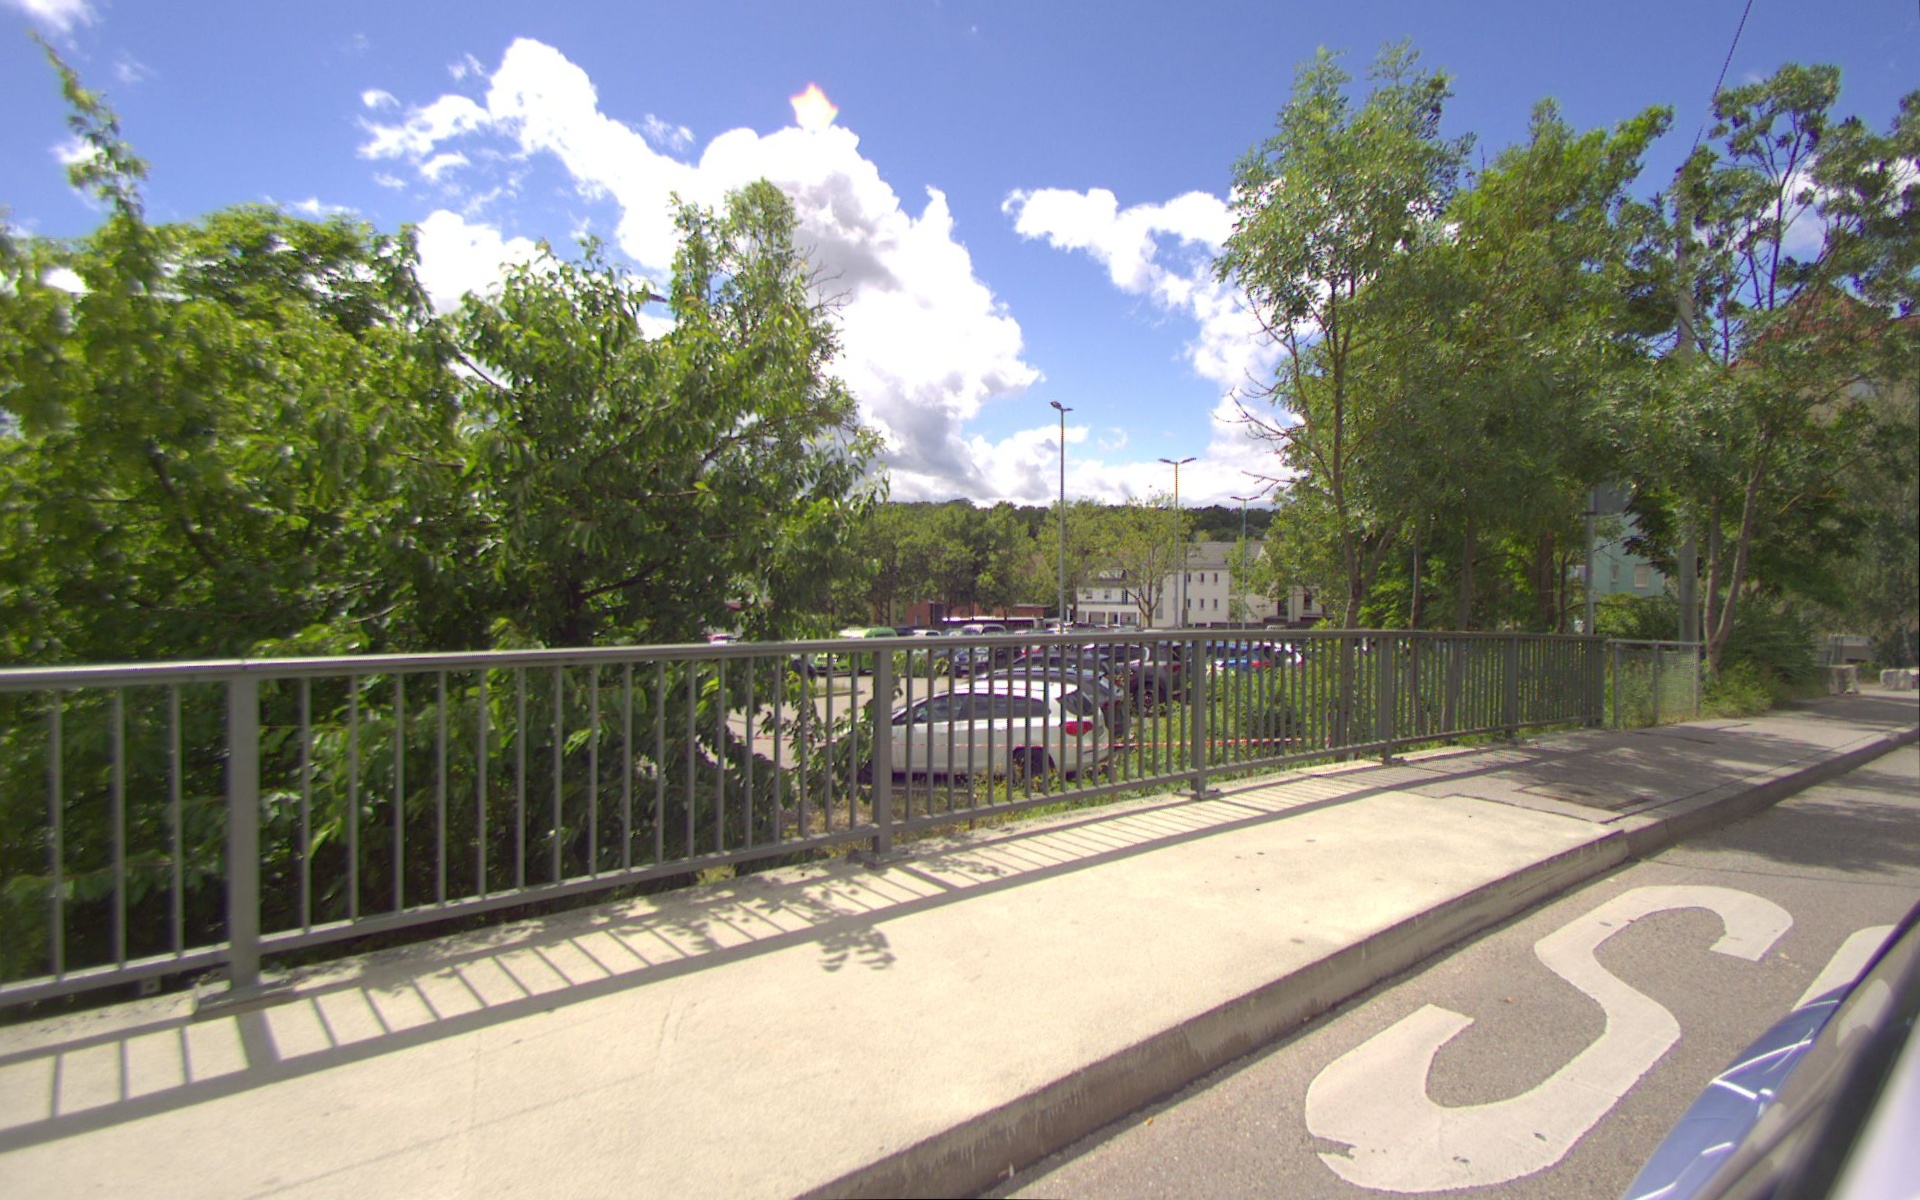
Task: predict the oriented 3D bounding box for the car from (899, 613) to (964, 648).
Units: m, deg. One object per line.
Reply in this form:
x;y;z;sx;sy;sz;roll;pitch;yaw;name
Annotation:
-1.649;1.787;60.162;1.980;1.808;4.403;-3;-1;26;car

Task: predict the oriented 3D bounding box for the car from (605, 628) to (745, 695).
-8.623;1.802;30.967;1.890;1.690;4.161;2;1;24;car

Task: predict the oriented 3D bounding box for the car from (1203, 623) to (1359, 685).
10.076;1.641;31.922;4.327;1.690;1.846;0;0;39;car

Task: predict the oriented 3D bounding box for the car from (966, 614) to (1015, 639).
1.961;1.623;63.430;1.851;1.467;3.688;0;0;24;car

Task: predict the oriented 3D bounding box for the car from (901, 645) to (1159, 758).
1.274;1.721;18.075;4.294;1.690;1.860;0;0;19;car

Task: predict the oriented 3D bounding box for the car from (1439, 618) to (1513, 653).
23.844;1.614;46.714;4.212;1.468;1.870;0;0;-45;car

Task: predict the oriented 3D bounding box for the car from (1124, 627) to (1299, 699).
6.873;1.658;27.891;4.327;1.690;1.846;0;0;39;car

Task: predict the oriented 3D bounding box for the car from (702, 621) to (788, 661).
-10.979;2.066;51.993;1.980;1.808;4.403;-3;-1;26;car

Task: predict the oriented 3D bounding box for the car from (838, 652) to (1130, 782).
0.411;1.750;16.051;4.294;1.690;1.860;0;0;19;car

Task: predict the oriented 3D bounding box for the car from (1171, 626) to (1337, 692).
8.620;1.662;29.845;4.327;1.690;1.846;0;0;39;car

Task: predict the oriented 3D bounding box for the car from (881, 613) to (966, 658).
-1.589;1.573;46.186;1.980;1.808;4.403;-3;-1;26;car

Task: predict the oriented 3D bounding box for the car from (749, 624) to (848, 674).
-6.663;1.979;42.228;1.890;1.725;4.521;2;1;24;car

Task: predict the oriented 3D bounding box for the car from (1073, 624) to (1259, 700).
5.227;1.513;25.882;4.315;1.690;1.851;0;0;31;car

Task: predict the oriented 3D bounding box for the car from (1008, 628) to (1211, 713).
3.443;1.557;23.348;4.305;1.690;1.856;0;0;26;car

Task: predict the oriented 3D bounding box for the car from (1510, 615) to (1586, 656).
25.774;1.491;44.289;4.212;1.644;1.870;0;0;-45;car

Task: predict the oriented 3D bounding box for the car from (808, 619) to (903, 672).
-4.157;1.810;41.062;1.703;1.898;4.608;-3;-1;25;car

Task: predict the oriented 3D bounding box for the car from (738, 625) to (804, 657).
-12.233;2.638;65.794;1.980;1.808;4.403;-3;-1;26;car

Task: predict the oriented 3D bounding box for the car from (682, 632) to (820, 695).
-6.021;1.793;29.683;1.890;1.482;4.161;2;1;24;car

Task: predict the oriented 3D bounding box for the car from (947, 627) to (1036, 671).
1.253;1.847;38.655;1.707;1.408;3.957;-3;-1;30;car

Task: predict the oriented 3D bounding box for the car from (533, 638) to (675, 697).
-11.159;2.067;31.993;1.890;1.482;4.161;2;1;24;car

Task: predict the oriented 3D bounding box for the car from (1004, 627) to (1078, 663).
3.450;1.860;42.658;1.490;1.278;3.957;-3;-1;30;car

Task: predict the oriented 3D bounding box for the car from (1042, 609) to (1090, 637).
7.721;1.611;73.051;1.980;1.808;4.403;-3;-1;26;car

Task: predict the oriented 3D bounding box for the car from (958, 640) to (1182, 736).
2.275;1.727;20.865;4.297;1.690;1.859;0;0;21;car

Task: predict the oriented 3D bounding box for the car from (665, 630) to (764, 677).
-10.820;2.314;44.994;1.890;1.725;4.521;2;1;24;car

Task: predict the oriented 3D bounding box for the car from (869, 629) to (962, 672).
-1.663;1.948;39.383;1.707;1.408;3.957;-3;-1;30;car

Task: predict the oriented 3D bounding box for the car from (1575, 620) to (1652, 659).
27.359;1.613;42.305;4.212;1.469;1.870;0;0;-45;car

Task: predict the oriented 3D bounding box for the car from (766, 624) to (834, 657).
-10.036;2.515;63.776;1.980;1.808;4.403;-3;-1;26;car
